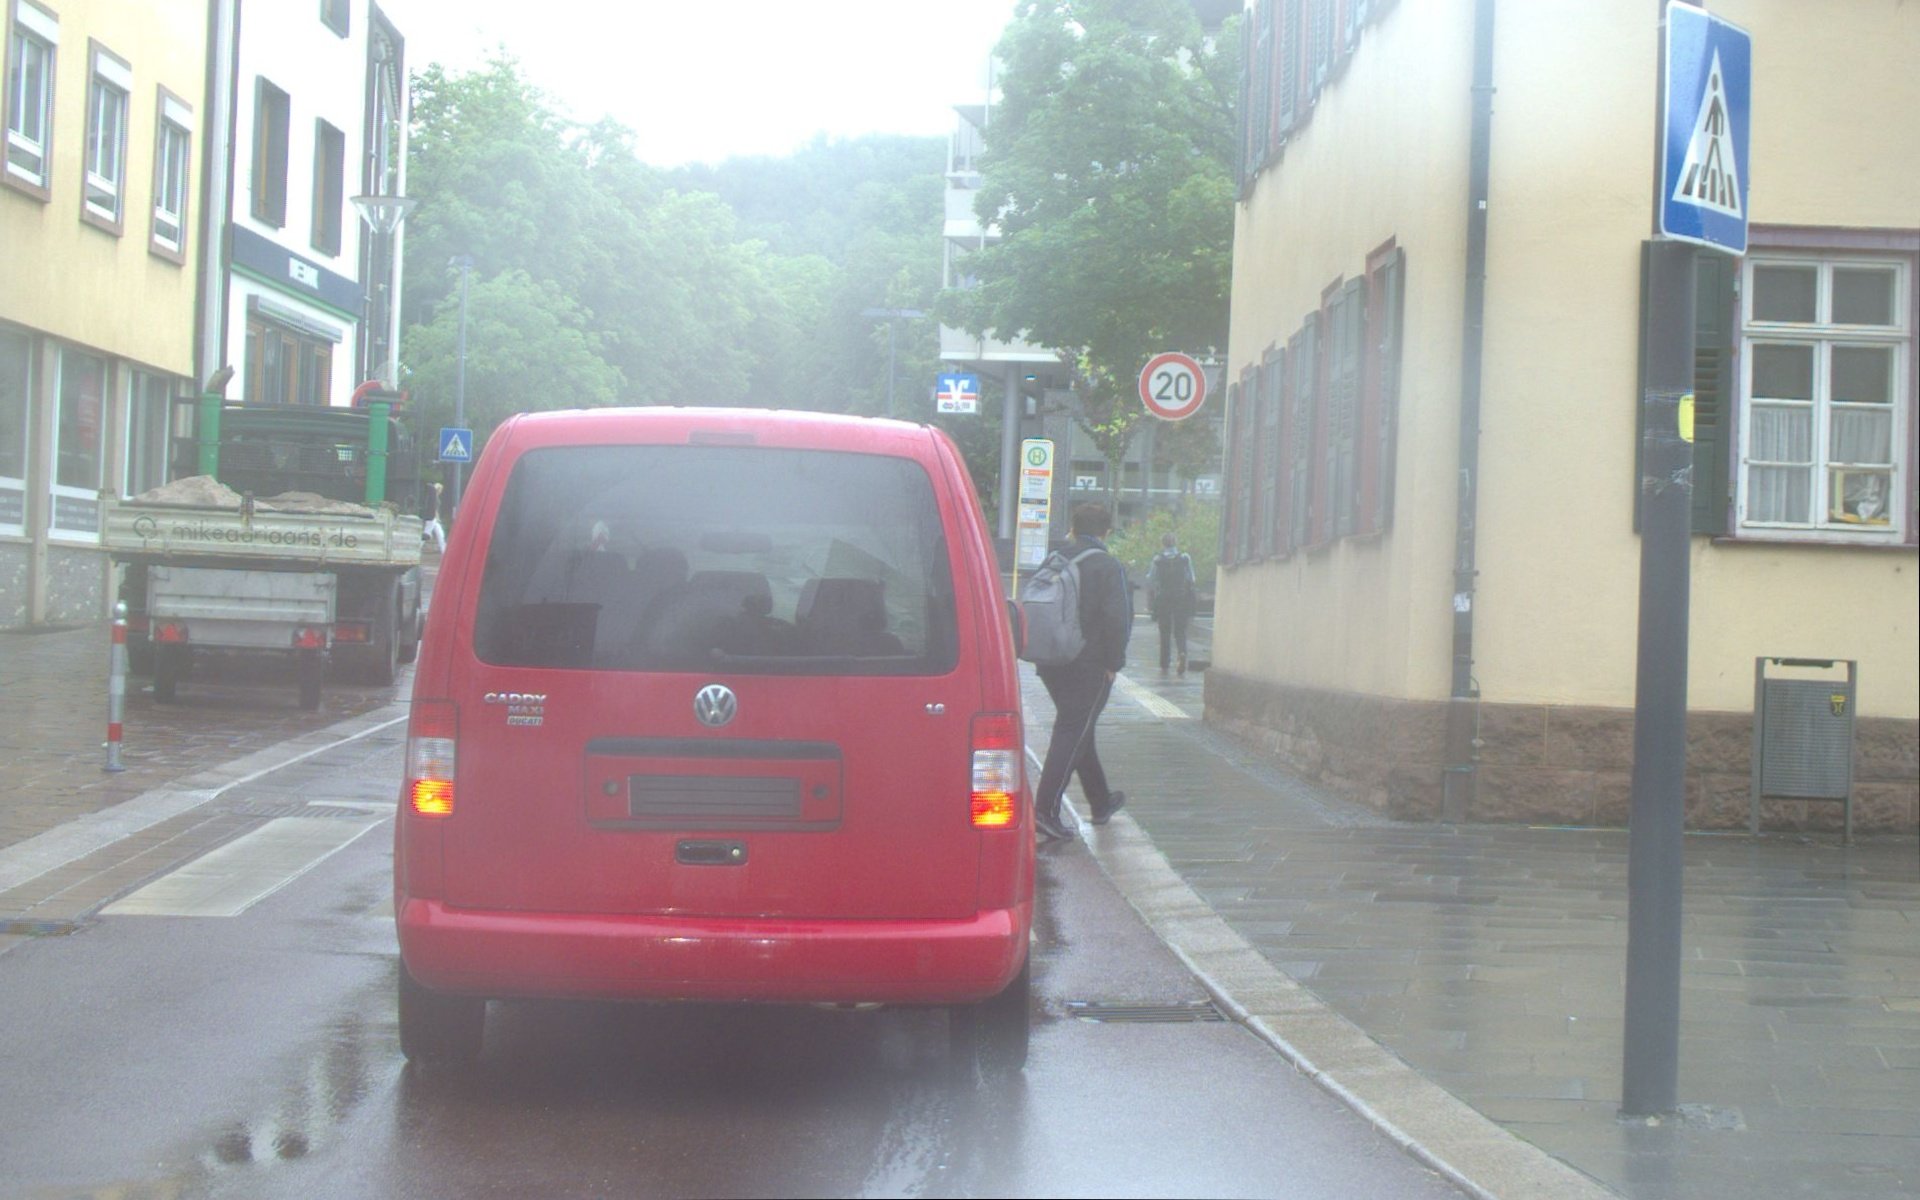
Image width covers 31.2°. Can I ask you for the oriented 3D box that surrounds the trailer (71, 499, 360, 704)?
[{"bbox_3d":[-5.380,-0.034,25.169,1.727,1.342,3.161,1,2,-6],"label":"trailer"}]

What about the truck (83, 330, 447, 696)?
[{"bbox_3d":[-5.885,-0.788,29.993,2.473,2.785,6.601,1,2,-6],"label":"truck"}]

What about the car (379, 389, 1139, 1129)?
[{"bbox_3d":[-0.676,0.369,10.642,1.862,1.824,4.186,1,1,-5],"label":"car"}]

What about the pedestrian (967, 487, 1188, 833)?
[{"bbox_3d":[0.601,0.287,17.471,0.715,1.687,0.866,3,2,35],"label":"pedestrian"}]

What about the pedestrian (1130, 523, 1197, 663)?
[{"bbox_3d":[2.384,-0.086,40.325,0.728,1.611,0.694,1,0,1],"label":"pedestrian"}]
